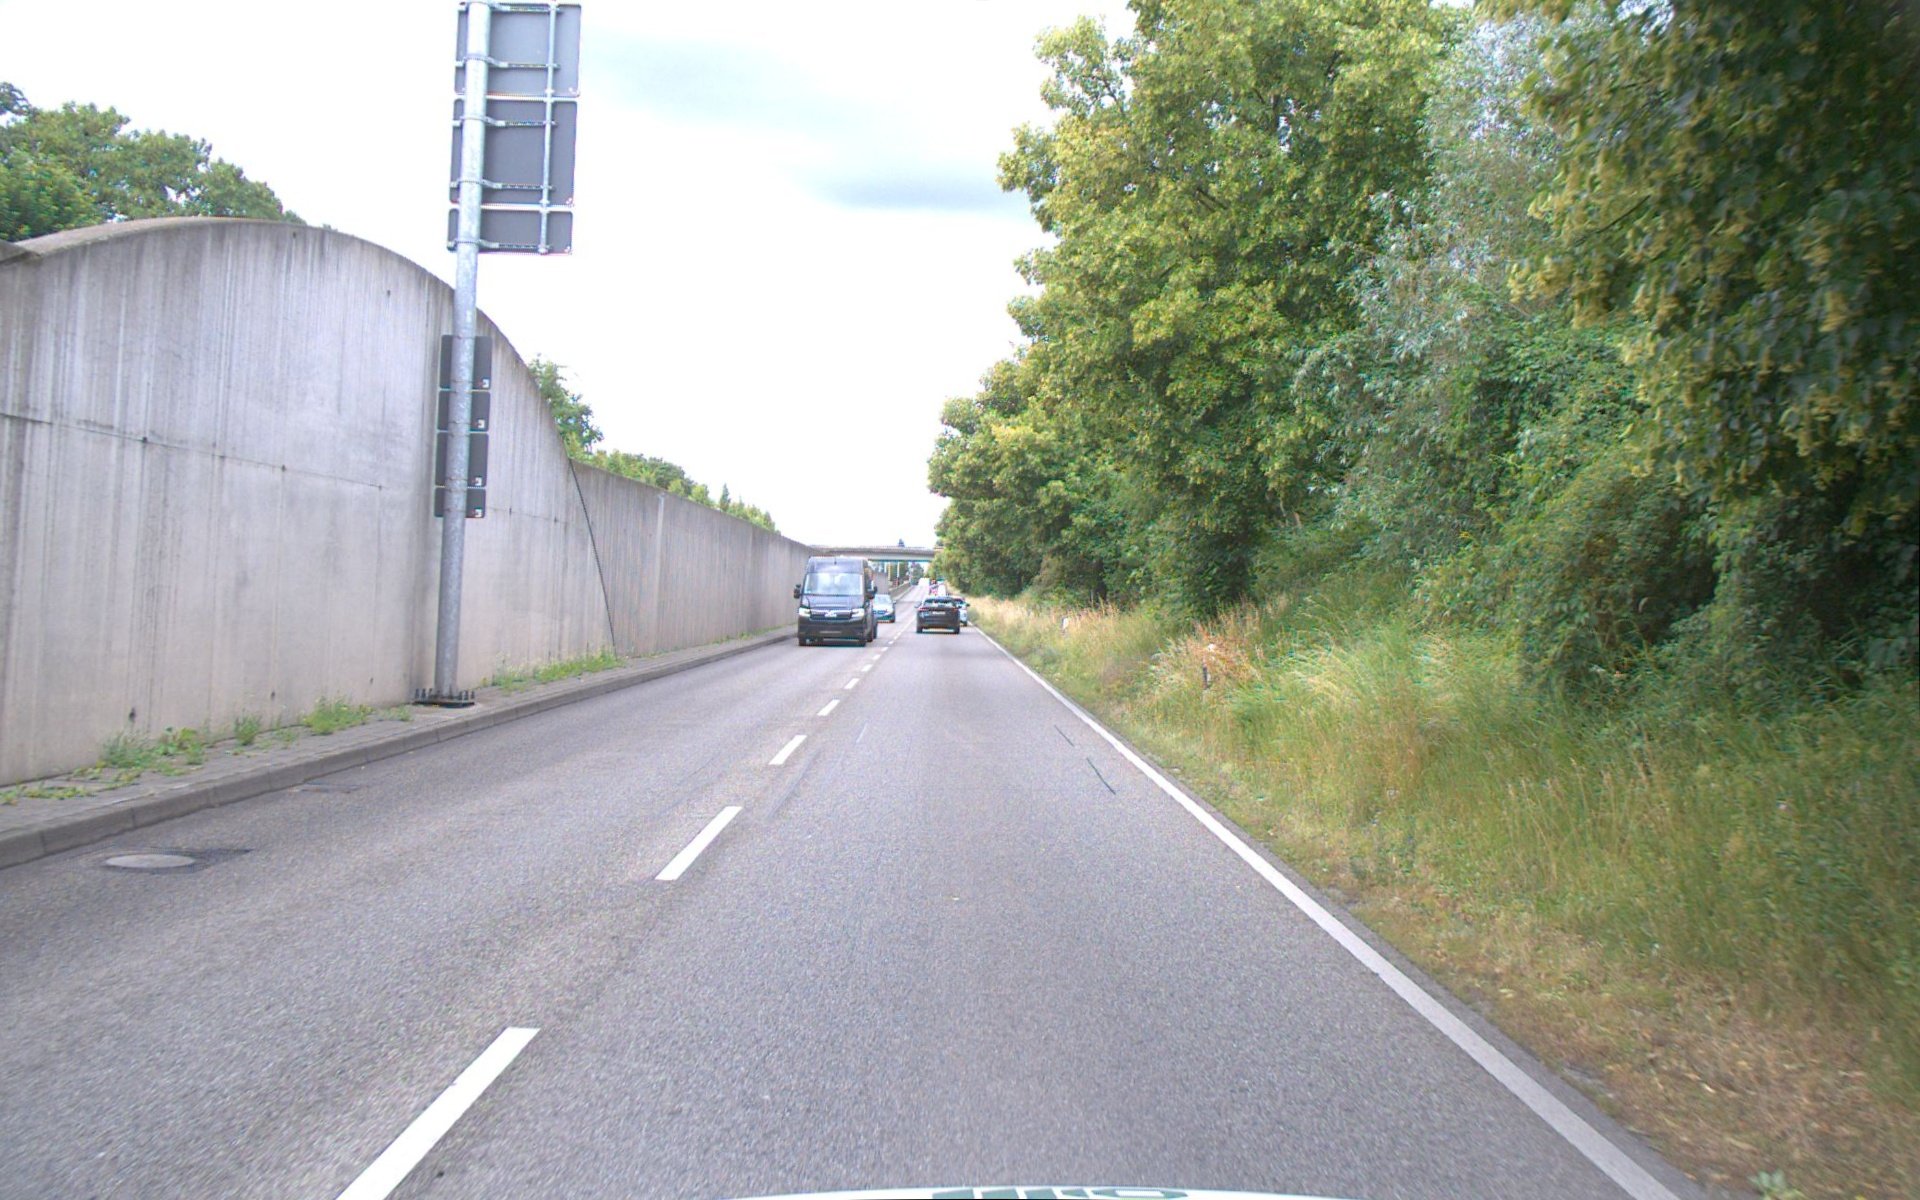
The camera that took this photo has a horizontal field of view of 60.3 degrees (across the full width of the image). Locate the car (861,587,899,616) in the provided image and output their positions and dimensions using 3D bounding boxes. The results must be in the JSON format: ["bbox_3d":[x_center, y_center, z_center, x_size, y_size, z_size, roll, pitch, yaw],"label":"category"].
[{"bbox_3d":[-4.354,0.070,90.695,1.854,1.509,4.822,1,0,-1],"label":"car"}]

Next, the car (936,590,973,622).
[{"bbox_3d":[-0.255,0.327,83.025,1.718,1.550,4.037,1,-1,1],"label":"car"}]

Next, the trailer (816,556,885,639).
[{"bbox_3d":[-3.689,-0.080,56.292,2.067,2.676,4.371,1,0,-1],"label":"trailer"}]

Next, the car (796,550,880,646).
[{"bbox_3d":[-3.611,-0.069,50.351,2.067,2.676,7.416,1,0,-1],"label":"car"}]

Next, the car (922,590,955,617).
[{"bbox_3d":[-1.387,0.232,104.051,1.829,1.516,4.255,4,0,-3],"label":"car"}]

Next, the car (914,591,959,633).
[{"bbox_3d":[-0.928,0.469,66.562,1.718,1.550,4.037,0,1,-1],"label":"car"}]
